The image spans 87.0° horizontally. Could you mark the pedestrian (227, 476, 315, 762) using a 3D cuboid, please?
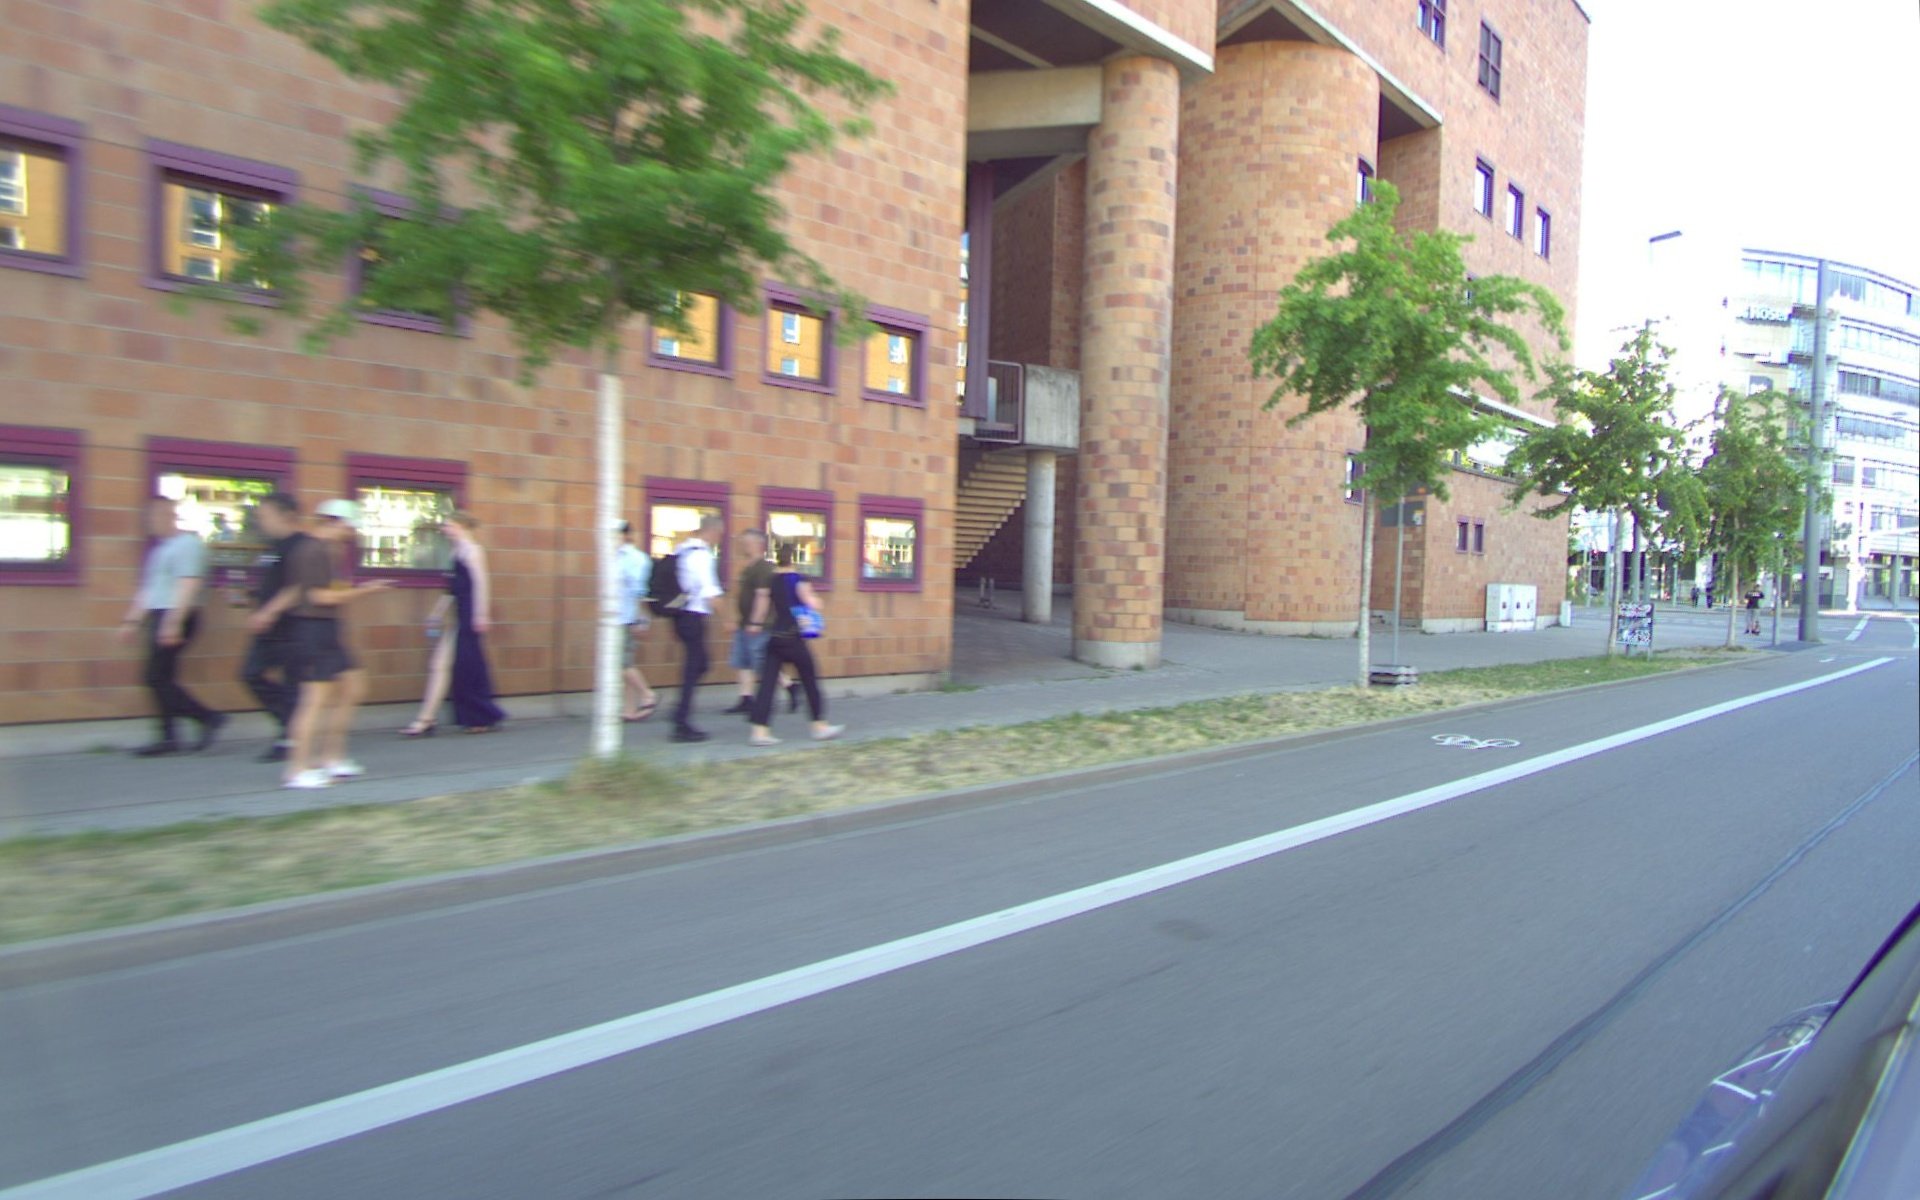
[{"bbox_3d":[-4.503,0.108,6.628,0.456,1.778,0.538,0,2,-34],"label":"pedestrian"}]

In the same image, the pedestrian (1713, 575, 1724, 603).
[{"bbox_3d":[51.345,-0.768,68.531,0.544,1.846,0.369,2,2,37],"label":"pedestrian"}]

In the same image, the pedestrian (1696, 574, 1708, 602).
[{"bbox_3d":[50.625,-0.809,69.059,0.586,1.846,0.537,2,2,37],"label":"pedestrian"}]

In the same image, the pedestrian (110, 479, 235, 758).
[{"bbox_3d":[-5.201,0.118,6.703,0.527,1.778,0.423,1,2,-14],"label":"pedestrian"}]

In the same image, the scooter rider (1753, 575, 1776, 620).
[{"bbox_3d":[26.879,-0.094,33.804,0.506,1.478,0.711,3,2,42],"label":"scooter rider"}]

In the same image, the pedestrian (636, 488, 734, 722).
[{"bbox_3d":[-2.146,0.029,7.870,0.628,1.734,0.574,0,2,-25],"label":"pedestrian"}]

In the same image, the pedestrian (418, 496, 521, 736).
[{"bbox_3d":[-3.826,0.112,7.882,0.681,1.778,0.539,0,2,-29],"label":"pedestrian"}]

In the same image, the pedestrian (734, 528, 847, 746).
[{"bbox_3d":[-1.328,0.261,7.966,0.515,1.625,0.695,2,2,37],"label":"pedestrian"}]

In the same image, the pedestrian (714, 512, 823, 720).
[{"bbox_3d":[-1.734,0.124,9.153,0.683,1.778,0.734,0,2,-38],"label":"pedestrian"}]

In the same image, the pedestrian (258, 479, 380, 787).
[{"bbox_3d":[-3.915,0.182,6.185,0.420,1.778,0.530,3,2,42],"label":"pedestrian"}]

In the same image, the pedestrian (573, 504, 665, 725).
[{"bbox_3d":[-2.857,0.108,8.500,0.681,1.778,0.539,1,2,-18],"label":"pedestrian"}]

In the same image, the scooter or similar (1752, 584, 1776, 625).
[{"bbox_3d":[26.825,0.131,33.760,0.527,1.334,1.115,3,2,42],"label":"scooter or similar"}]
